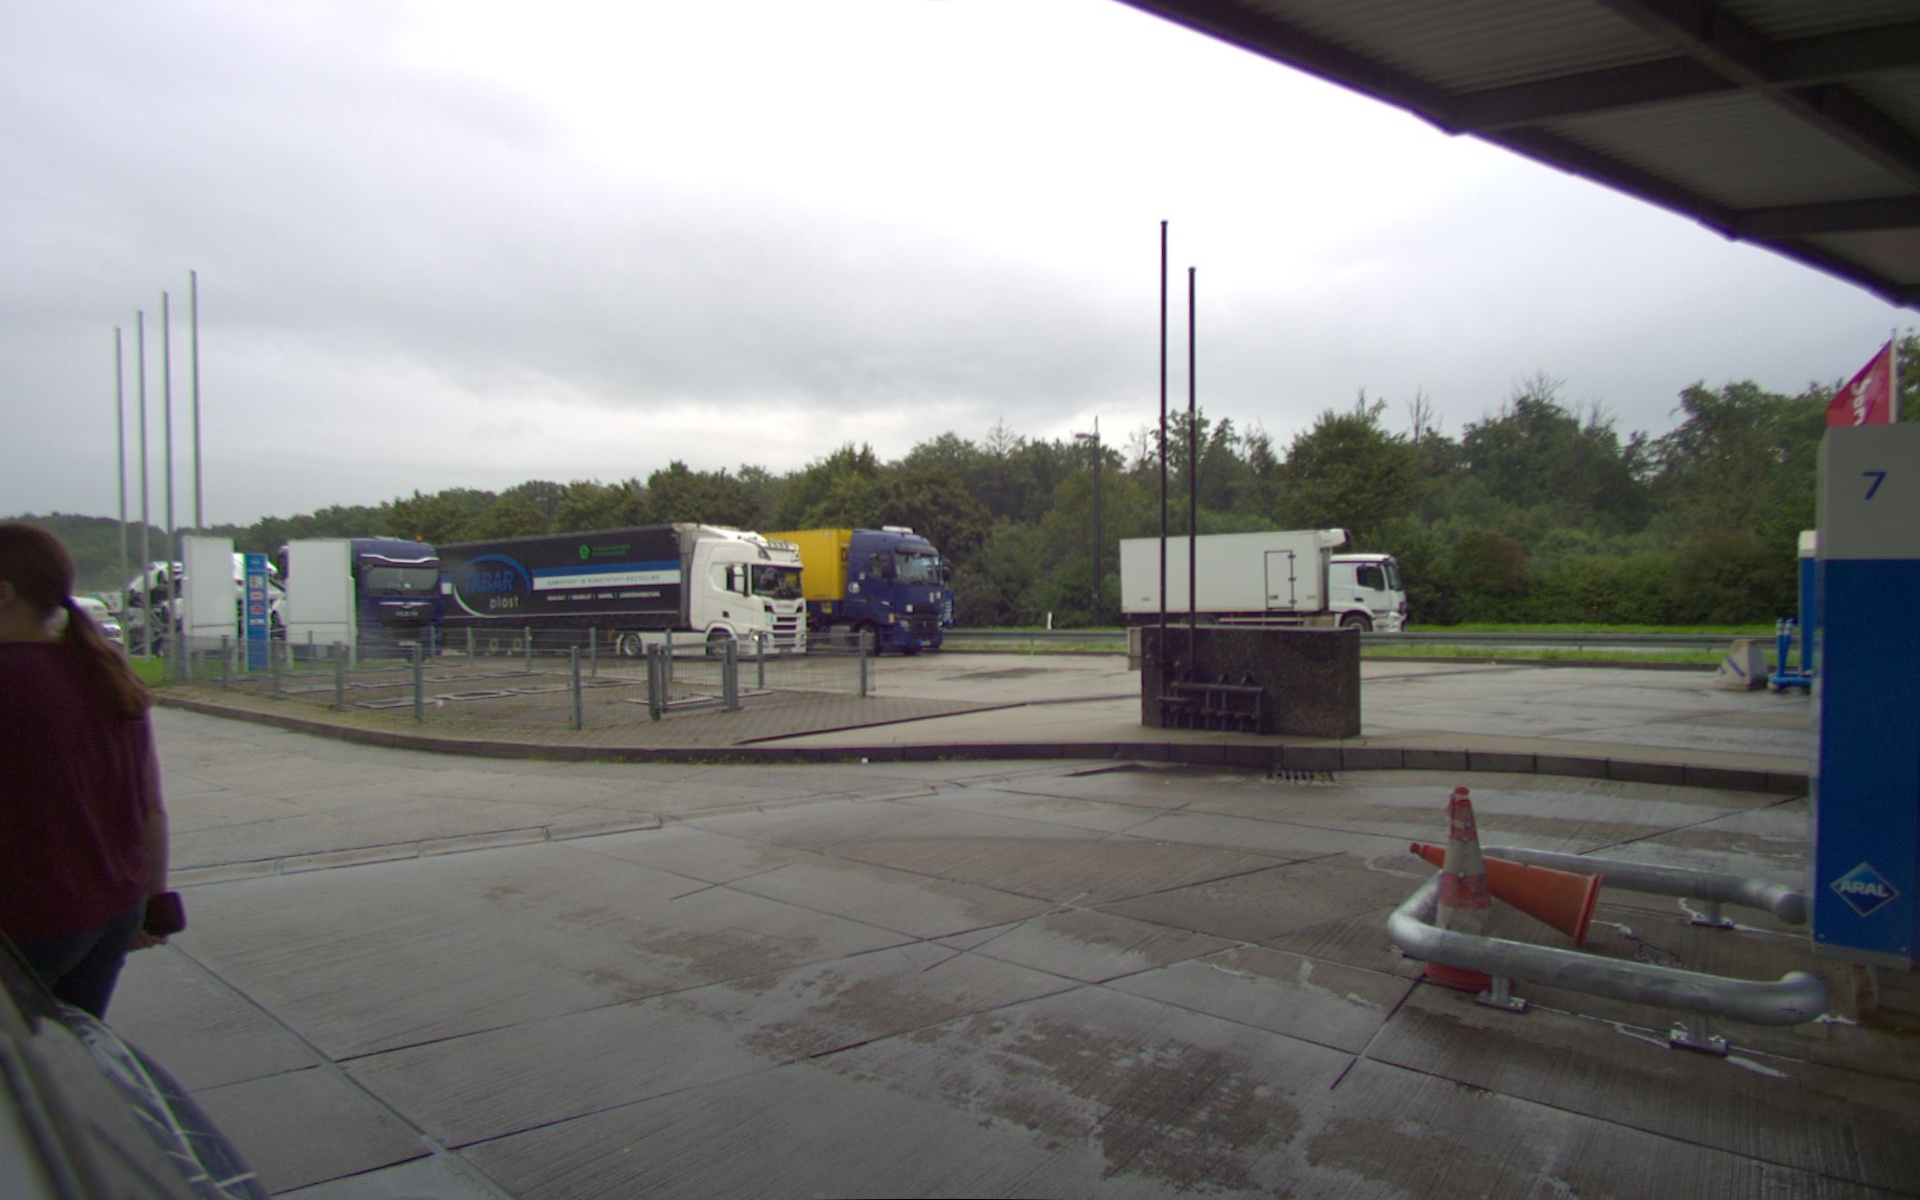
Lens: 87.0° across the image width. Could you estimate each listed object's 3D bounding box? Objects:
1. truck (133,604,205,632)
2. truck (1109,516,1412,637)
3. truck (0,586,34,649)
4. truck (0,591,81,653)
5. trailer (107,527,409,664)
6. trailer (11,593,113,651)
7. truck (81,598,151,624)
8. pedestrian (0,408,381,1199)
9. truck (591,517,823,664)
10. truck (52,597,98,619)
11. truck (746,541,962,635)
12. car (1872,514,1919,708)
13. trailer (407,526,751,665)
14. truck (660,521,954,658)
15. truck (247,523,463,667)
[{"bbox_3d":[-105.929,2.422,135.425,14.626,3.591,3.215,-1,-1,34],"label":"truck"},{"bbox_3d":[11.013,-0.732,37.734,10.433,4.063,2.961,-1,0,30],"label":"truck"},{"bbox_3d":[-55.555,1.017,55.019,3.196,3.591,12.013,-1,0,-19],"label":"truck"},{"bbox_3d":[-59.421,1.370,64.999,3.000,3.796,6.486,-1,0,-27],"label":"truck"},{"bbox_3d":[-25.416,-0.056,35.926,16.563,4.063,2.957,-1,0,34],"label":"trailer"},{"bbox_3d":[-62.266,1.433,70.486,2.854,3.666,10.605,-1,0,-28],"label":"trailer"},{"bbox_3d":[-122.074,1.568,146.255,16.515,3.591,3.215,-1,0,34],"label":"truck"},{"bbox_3d":[-1.736,0.574,1.995,0.839,1.747,0.786,-1,-1,40],"label":"pedestrian"},{"bbox_3d":[-7.823,-0.236,31.086,6.713,4.063,2.962,-1,0,29],"label":"truck"},{"bbox_3d":[-148.750,1.434,170.085,11.949,3.591,3.213,-1,0,36],"label":"truck"},{"bbox_3d":[-5.139,-0.458,47.690,10.433,4.063,2.961,-1,0,30],"label":"truck"},{"bbox_3d":[14.879,0.115,12.386,5.272,2.482,2.298,-1,-2,37],"label":"car"},{"bbox_3d":[-13.293,-0.071,34.288,13.755,4.063,2.960,-1,0,31],"label":"trailer"},{"bbox_3d":[-5.389,-0.269,33.955,10.608,4.063,2.743,-1,0,33],"label":"truck"},{"bbox_3d":[-18.992,-0.113,31.622,7.244,4.063,2.957,-1,0,34],"label":"truck"}]
